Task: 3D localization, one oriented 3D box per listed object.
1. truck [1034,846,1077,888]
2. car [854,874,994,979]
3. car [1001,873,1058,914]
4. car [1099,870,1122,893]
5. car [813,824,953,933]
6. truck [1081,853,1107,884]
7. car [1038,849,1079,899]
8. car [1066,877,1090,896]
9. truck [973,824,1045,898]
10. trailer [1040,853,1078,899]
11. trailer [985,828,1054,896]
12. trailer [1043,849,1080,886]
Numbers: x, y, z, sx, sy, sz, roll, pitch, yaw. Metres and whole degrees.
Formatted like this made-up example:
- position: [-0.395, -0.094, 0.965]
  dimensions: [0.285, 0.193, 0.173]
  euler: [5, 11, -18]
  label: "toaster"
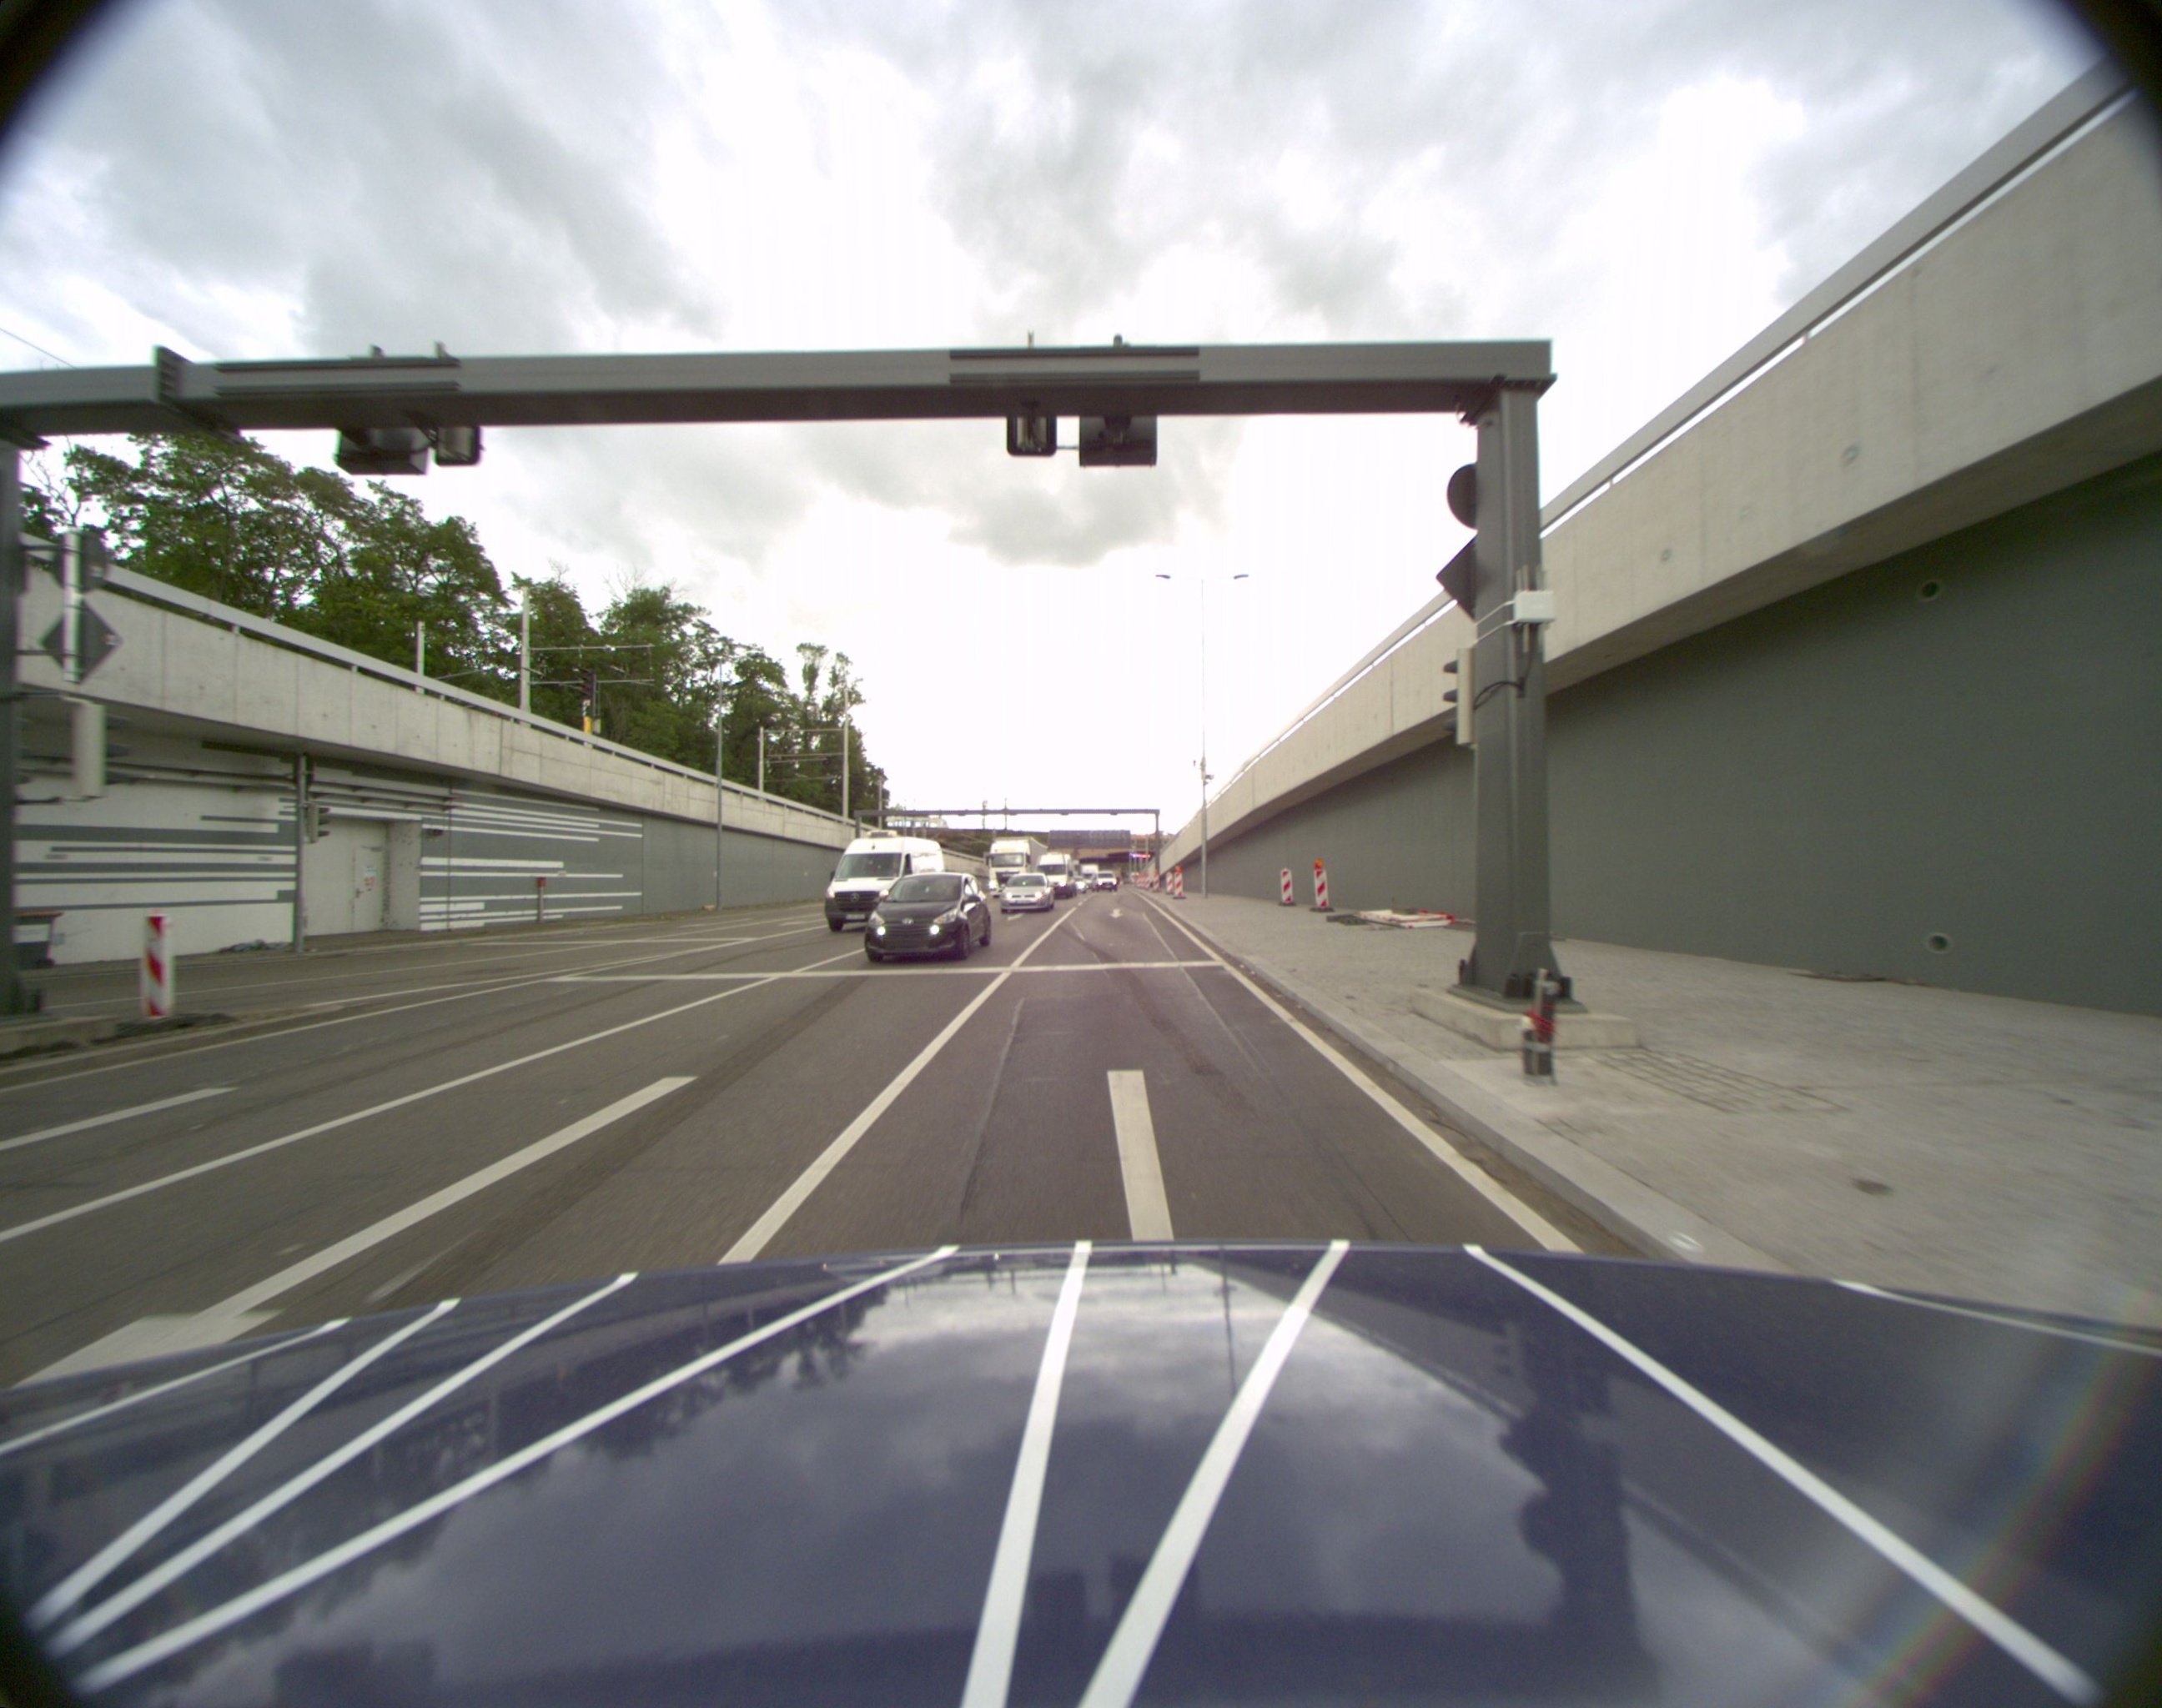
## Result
- position: [-2.621, 1.497, 82.629]
  dimensions: [3.733, 4.116, 10.988]
  euler: [-2, -2, 2]
  label: "truck"
- position: [-2.716, 1.201, 13.926]
  dimensions: [1.686, 1.536, 3.693]
  euler: [-2, 0, 1]
  label: "car"
- position: [-1.880, 1.446, 28.978]
  dimensions: [1.768, 1.375, 4.040]
  euler: [-1, -1, 2]
  label: "car"
- position: [2.827, 2.563, 71.426]
  dimensions: [1.998, 1.978, 5.202]
  euler: [-3, -2, 3]
  label: "car"
- position: [-5.708, 0.766, 23.182]
  dimensions: [2.080, 2.756, 7.330]
  euler: [-1, -2, 2]
  label: "car"
- position: [1.620, 1.855, 98.676]
  dimensions: [3.032, 3.565, 8.952]
  euler: [-5, -1, 0]
  label: "truck"
- position: [-1.287, 1.254, 45.100]
  dimensions: [2.063, 2.611, 5.944]
  euler: [-4, -3, -1]
  label: "car"
- position: [-0.194, 2.588, 61.828]
  dimensions: [1.720, 1.390, 4.349]
  euler: [-1, -1, 3]
  label: "car"
- position: [-4.859, 0.546, 52.863]
  dimensions: [3.814, 4.602, 7.446]
  euler: [-3, -2, 2]
  label: "truck"
- position: [-1.390, 1.441, 49.105]
  dimensions: [2.109, 2.622, 4.811]
  euler: [-5, -2, -2]
  label: "trailer"
- position: [-4.582, 0.763, 59.854]
  dimensions: [3.814, 4.602, 12.119]
  euler: [-3, -2, 2]
  label: "trailer"
- position: [-2.232, 1.699, 93.570]
  dimensions: [3.733, 4.116, 10.988]
  euler: [-2, -2, 2]
  label: "trailer"
